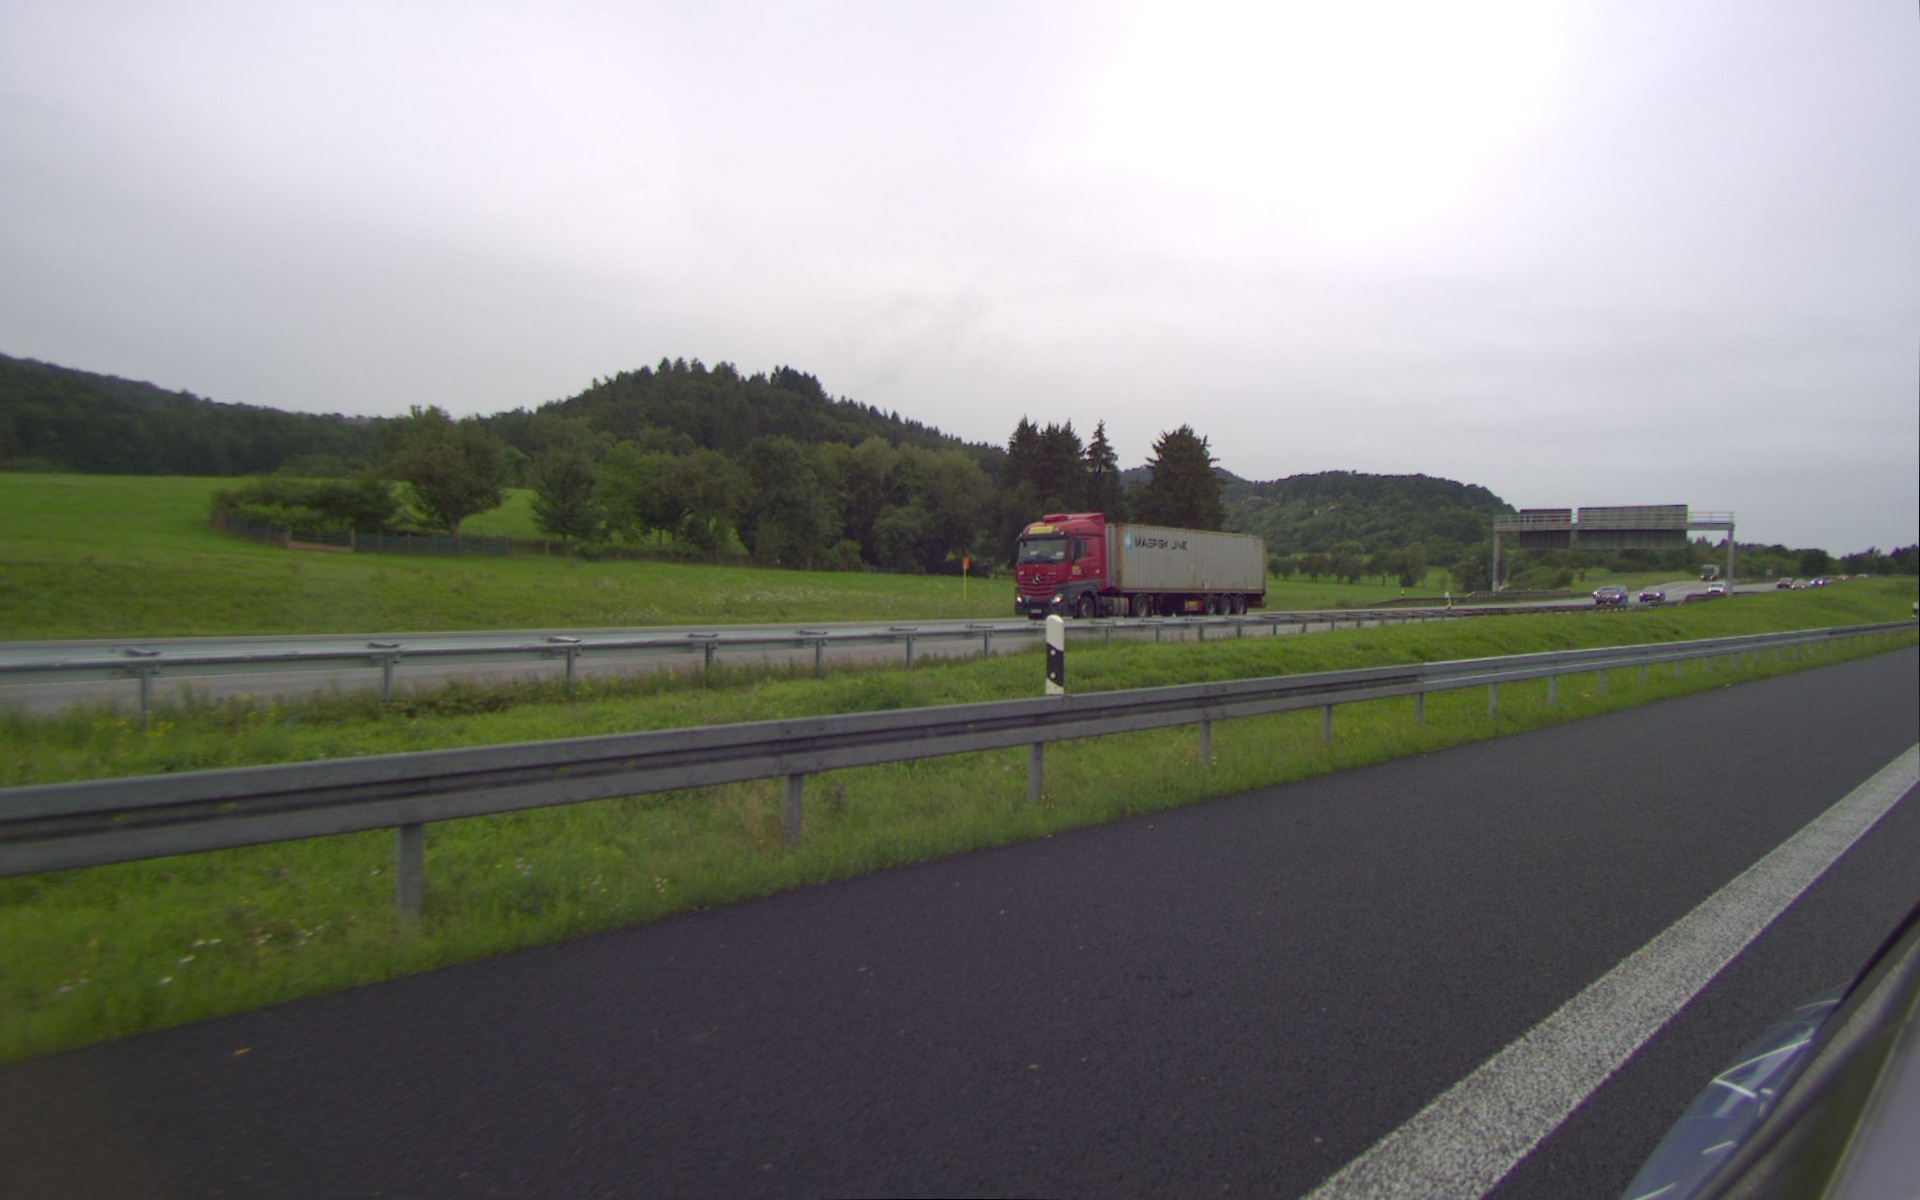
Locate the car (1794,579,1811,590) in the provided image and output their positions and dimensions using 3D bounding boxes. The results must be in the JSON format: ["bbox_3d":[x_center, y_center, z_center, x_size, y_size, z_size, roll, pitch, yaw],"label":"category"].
[{"bbox_3d":[149.710,-2.729,179.771,3.931,2.039,1.732,0,0,-42],"label":"car"}]

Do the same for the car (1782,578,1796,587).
[{"bbox_3d":[157.002,-3.337,191.606,3.935,1.571,1.581,0,0,-45],"label":"car"}]

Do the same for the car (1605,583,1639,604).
[{"bbox_3d":[59.276,-0.581,90.562,1.992,1.742,4.255,2,1,40],"label":"car"}]

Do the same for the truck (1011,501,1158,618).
[{"bbox_3d":[4.746,-1.420,37.983,2.508,4.037,5.835,-1,0,44],"label":"truck"}]

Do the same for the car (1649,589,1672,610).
[{"bbox_3d":[73.051,-0.082,105.506,1.646,2.039,3.943,2,1,39],"label":"car"}]

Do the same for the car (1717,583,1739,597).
[{"bbox_3d":[109.048,-1.426,143.714,1.995,2.039,3.935,2,1,45],"label":"car"}]

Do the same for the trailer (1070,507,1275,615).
[{"bbox_3d":[9.350,-1.490,42.859,2.490,4.034,12.210,-1,0,43],"label":"trailer"}]
